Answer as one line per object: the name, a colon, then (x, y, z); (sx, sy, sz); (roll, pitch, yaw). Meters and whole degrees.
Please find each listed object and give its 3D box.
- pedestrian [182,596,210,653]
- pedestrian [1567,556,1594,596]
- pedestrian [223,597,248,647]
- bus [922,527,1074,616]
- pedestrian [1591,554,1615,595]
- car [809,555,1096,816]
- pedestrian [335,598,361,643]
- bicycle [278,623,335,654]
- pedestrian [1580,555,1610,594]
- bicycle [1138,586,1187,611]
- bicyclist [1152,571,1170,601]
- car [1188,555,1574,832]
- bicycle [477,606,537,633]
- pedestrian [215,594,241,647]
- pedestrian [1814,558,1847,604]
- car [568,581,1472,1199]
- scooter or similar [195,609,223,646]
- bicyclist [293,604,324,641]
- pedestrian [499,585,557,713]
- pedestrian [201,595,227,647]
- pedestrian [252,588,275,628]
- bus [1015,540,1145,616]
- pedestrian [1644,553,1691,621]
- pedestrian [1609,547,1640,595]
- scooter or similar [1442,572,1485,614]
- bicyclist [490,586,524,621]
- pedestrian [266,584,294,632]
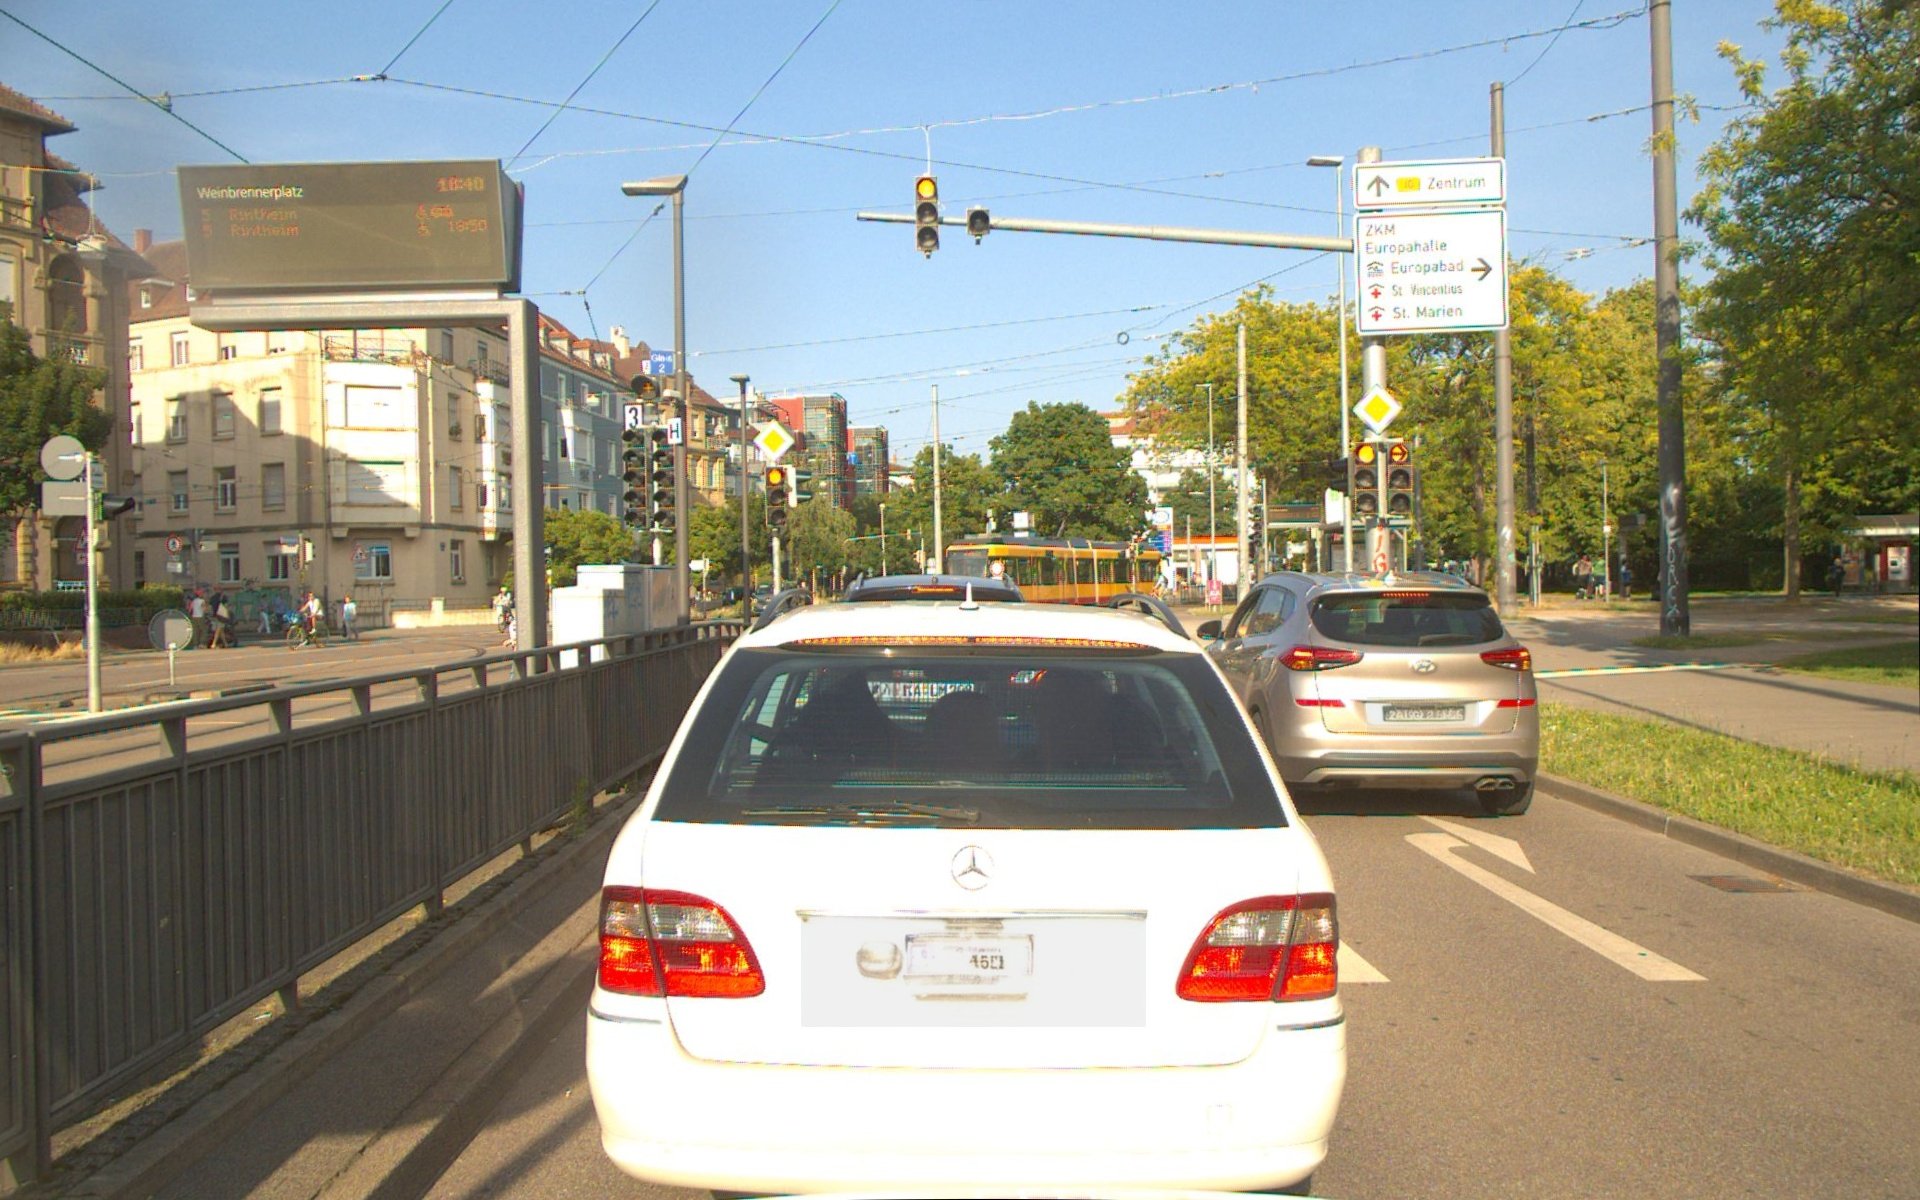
pedestrian: (-22.704, 0.722, 49.175); (0.497, 1.654, 0.608); (-1, 0, 0)
pedestrian: (24.056, -0.935, 64.131); (0.809, 1.513, 0.690); (-2, 0, -42)
pedestrian: (-22.056, 0.666, 50.339); (0.523, 1.527, 0.389); (-1, 0, 14)
bus: (1.957, -1.151, 75.097); (3.044, 3.669, 12.376); (1, 0, 20)
pedestrian: (24.603, -0.981, 63.236); (0.797, 1.513, 0.700); (-1, 0, 24)
car: (-0.069, 0.545, 12.619); (1.846, 1.680, 3.647); (1, 0, -1)
pedestrian: (-21.468, 0.708, 58.033); (0.616, 1.568, 0.711); (-1, 0, -1)
bicycle: (-19.050, 1.119, 48.234); (0.515, 0.849, 1.686); (-1, 0, 23)
pedestrian: (24.863, -1.001, 64.752); (0.799, 1.513, 0.699); (-1, 0, -12)
bicycle: (10.380, -0.072, 84.674); (2.430, 1.234, 0.807); (-1, 0, 7)
bicyclist: (10.303, -0.708, 84.659); (0.842, 1.507, 0.790); (-1, 0, 8)
car: (2.889, 0.569, 12.179); (1.846, 1.680, 3.647); (-2, 0, -1)
bicycle: (-17.208, 0.743, 62.948); (0.768, 0.930, 3.000); (-1, 0, 15)
pedestrian: (-21.724, 0.608, 49.105); (0.428, 1.527, 0.549); (-1, 0, 14)
pedestrian: (32.444, -0.712, 61.679); (0.818, 1.665, 0.803); (-1, 0, 5)
car: (0.093, 0.700, 5.045); (1.759, 1.496, 3.647); (0, 0, -1)
scooter or similar: (-22.688, 0.838, 49.951); (0.532, 1.098, 0.683); (1, 0, -1)
bicyclist: (-19.033, 0.649, 48.318); (0.502, 1.062, 0.679); (-1, 0, 21)
pedestrian: (-5.600, 0.625, 21.460); (0.601, 1.627, 0.632); (-1, 0, -7)
pedestrian: (-22.178, 0.618, 49.170); (0.428, 1.527, 0.549); (-1, 0, 14)
pedestrian: (-29.784, 0.329, 70.733); (0.606, 1.689, 0.586); (-1, 0, 14)
bus: (6.497, -1.026, 86.695); (3.045, 3.669, 12.588); (1, 0, 22)
pedestrian: (17.565, -0.327, 41.082); (0.748, 1.665, 0.797); (-2, 0, -40)
pedestrian: (25.881, -1.130, 64.412); (0.784, 1.816, 0.838); (-1, 0, -5)
scooter or similar: (13.955, -0.181, 45.854); (0.413, 1.136, 1.322); (-1, 0, -20)
bicyclist: (-17.231, 0.121, 62.922); (0.747, 1.284, 1.175); (-1, 0, 15)
pedestrian: (-29.410, 0.331, 71.534); (0.758, 2.049, 0.787); (-1, 0, 14)
